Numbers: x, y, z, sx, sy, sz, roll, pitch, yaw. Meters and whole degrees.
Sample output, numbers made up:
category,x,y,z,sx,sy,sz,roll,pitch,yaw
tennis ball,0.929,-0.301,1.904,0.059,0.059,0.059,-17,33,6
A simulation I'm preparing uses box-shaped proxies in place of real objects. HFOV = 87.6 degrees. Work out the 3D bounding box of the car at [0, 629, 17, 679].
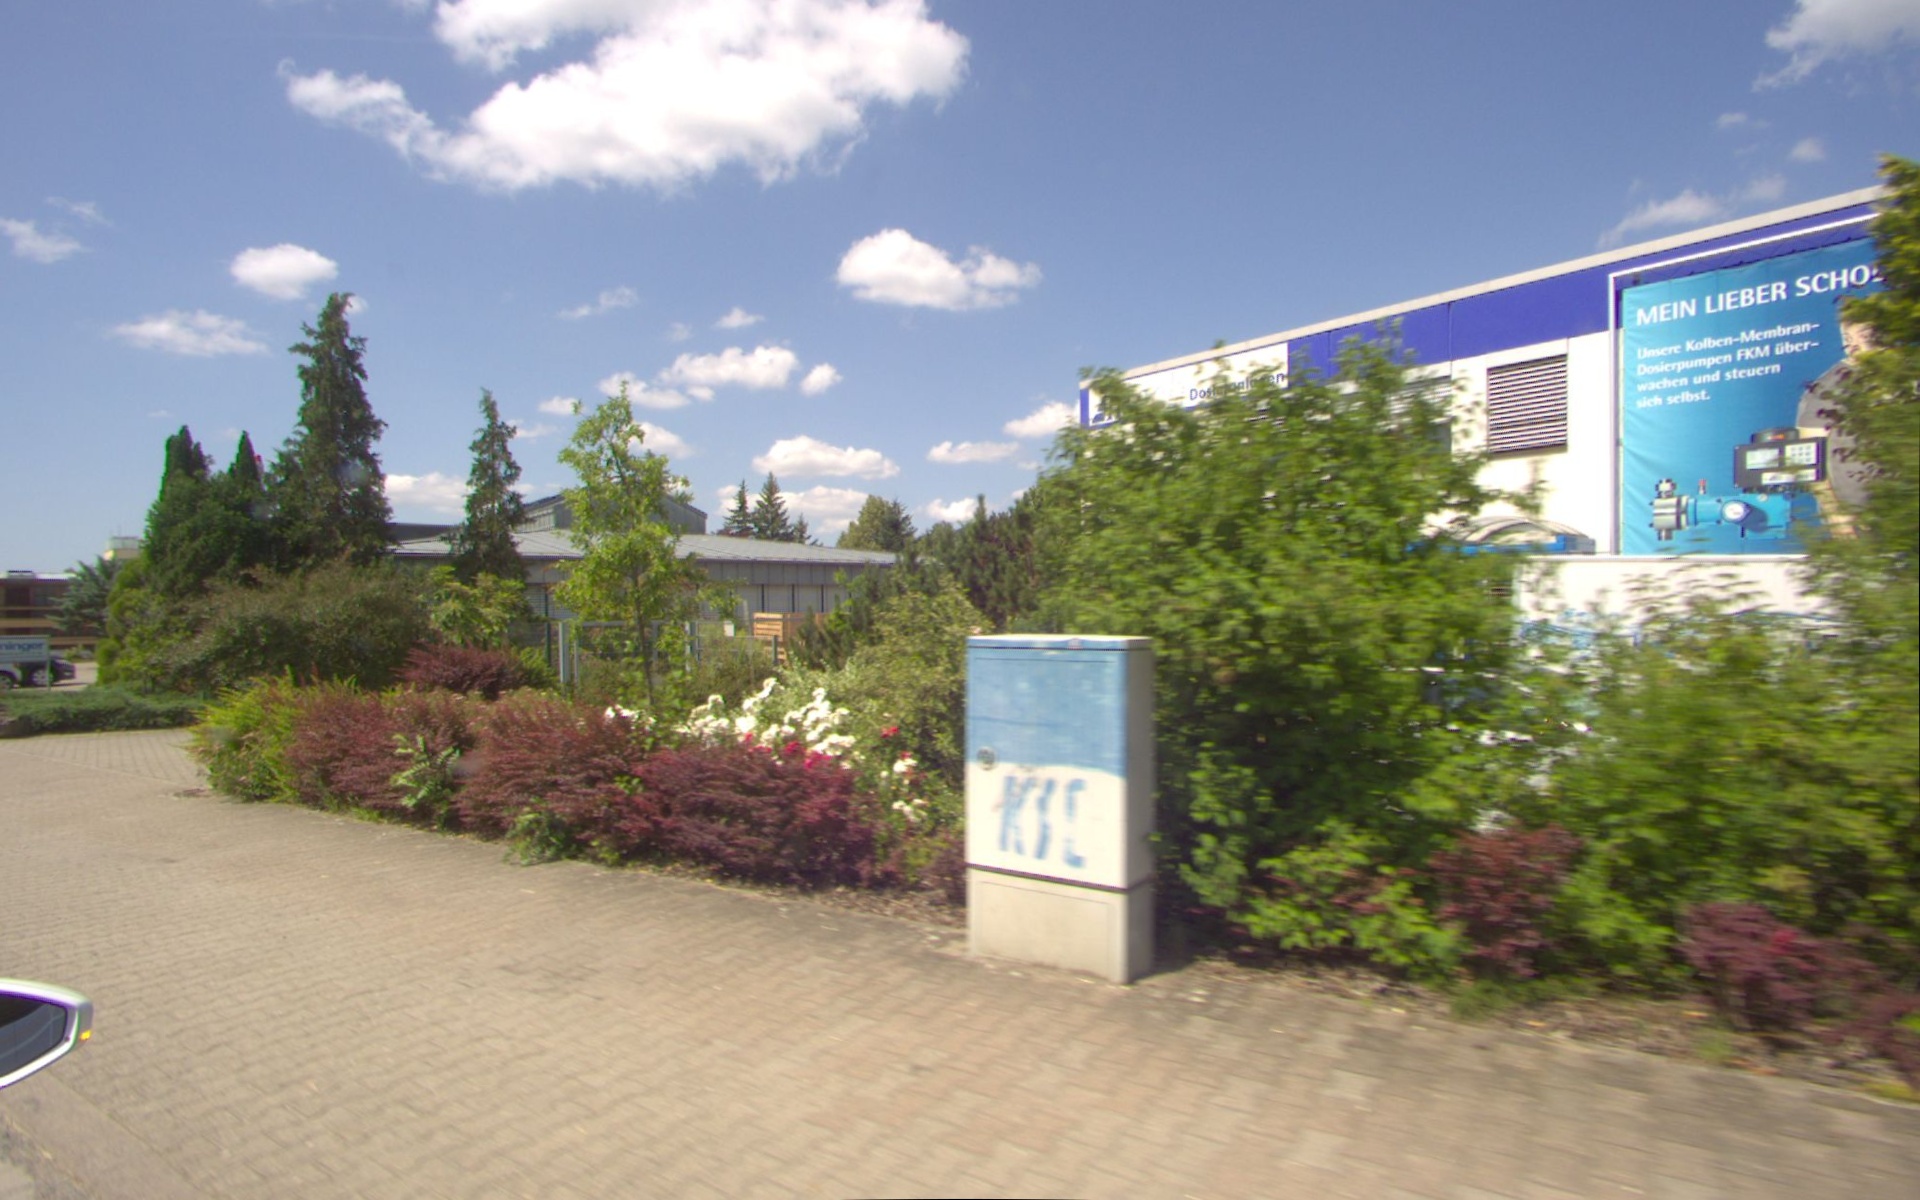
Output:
category,x,y,z,sx,sy,sz,roll,pitch,yaw
car,-32.127,1.775,30.918,1.689,1.594,4.029,-3,-2,29

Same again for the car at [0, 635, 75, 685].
category,x,y,z,sx,sy,sz,roll,pitch,yaw
car,-29.117,1.765,29.333,1.788,1.458,4.468,-1,-2,31

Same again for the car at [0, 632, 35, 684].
category,x,y,z,sx,sy,sz,roll,pitch,yaw
car,-27.583,1.615,27.216,1.747,1.420,3.340,-1,-1,37
